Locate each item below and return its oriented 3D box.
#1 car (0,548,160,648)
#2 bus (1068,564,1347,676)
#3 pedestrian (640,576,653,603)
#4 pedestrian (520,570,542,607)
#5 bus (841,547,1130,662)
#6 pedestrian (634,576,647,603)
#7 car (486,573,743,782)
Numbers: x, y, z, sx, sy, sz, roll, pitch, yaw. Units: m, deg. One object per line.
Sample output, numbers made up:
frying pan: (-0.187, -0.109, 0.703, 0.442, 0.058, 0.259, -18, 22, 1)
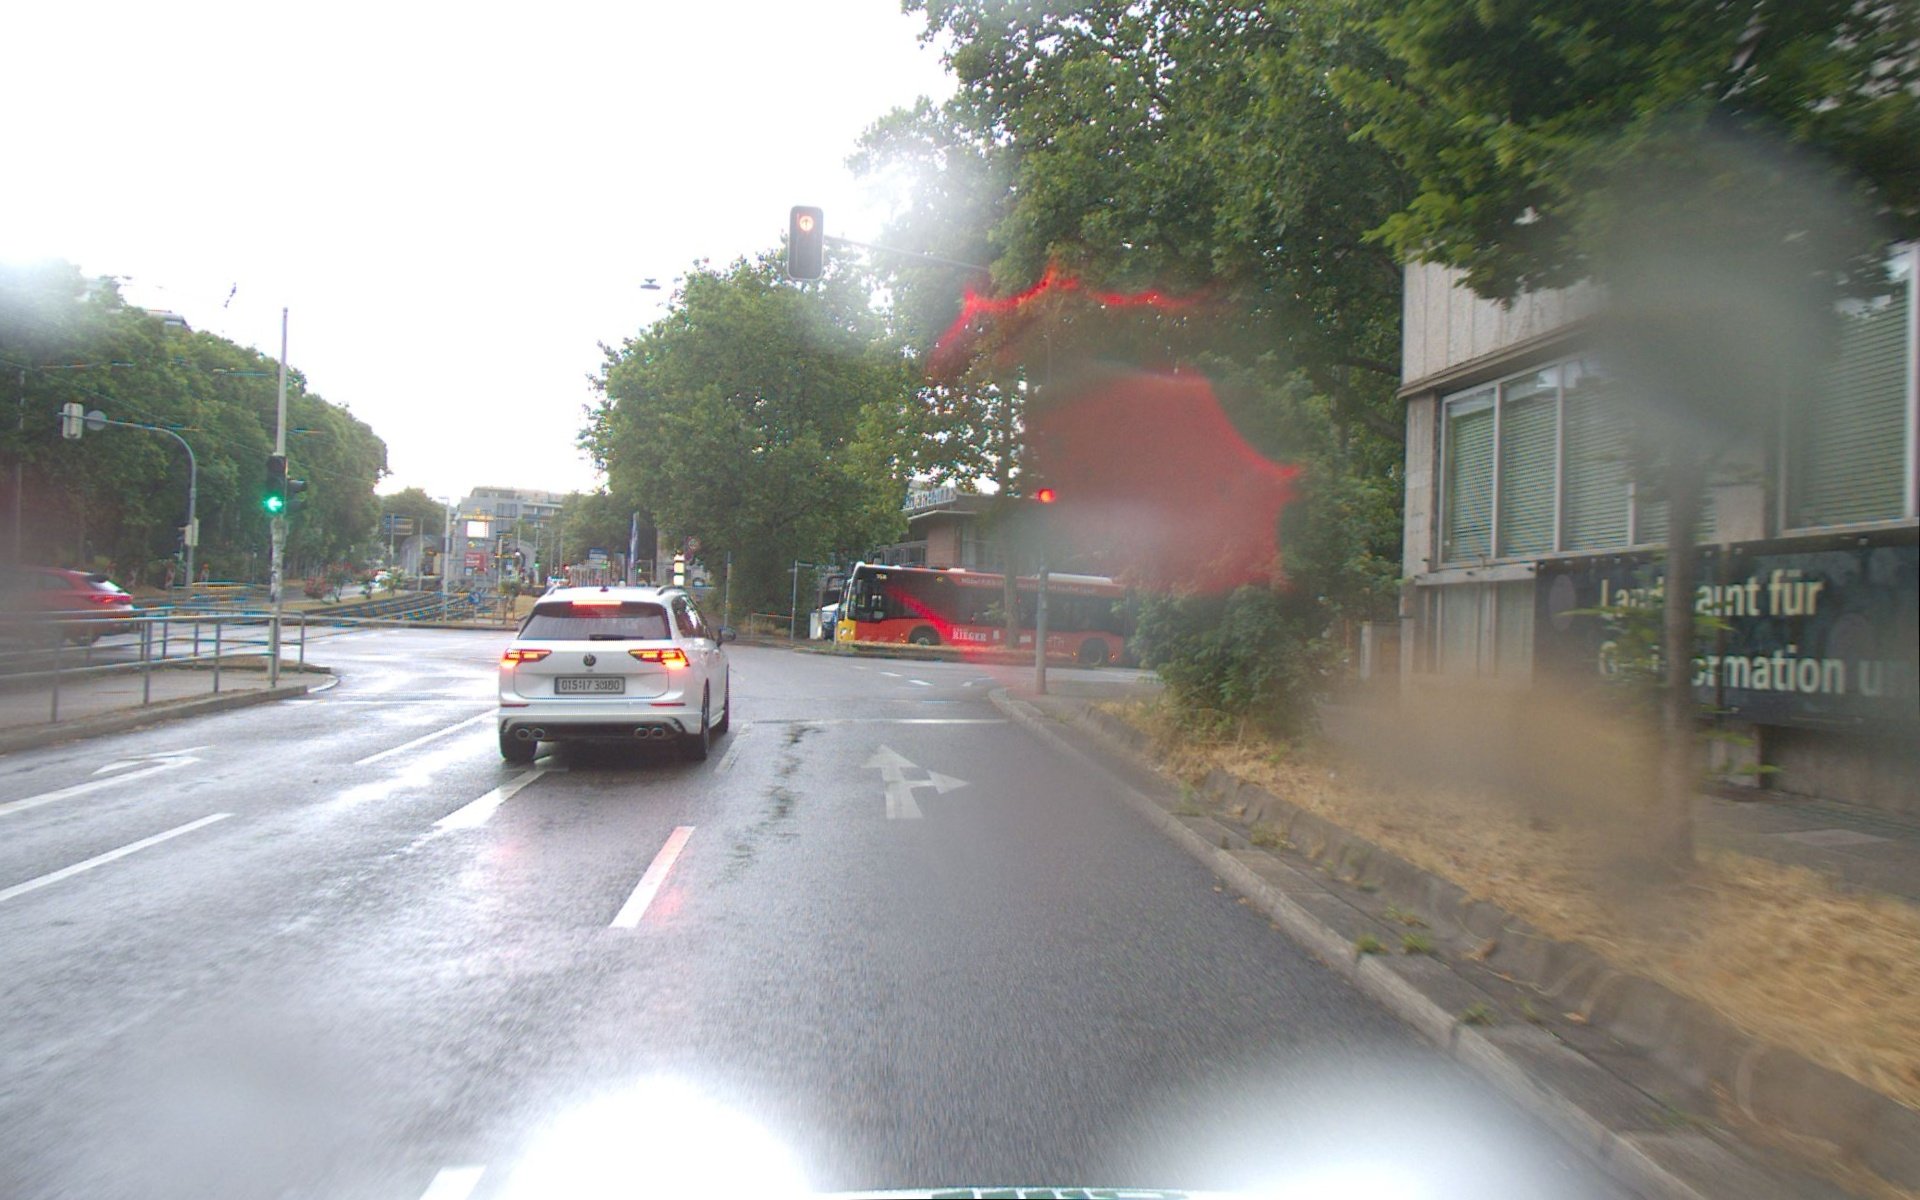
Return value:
car: (-17.544, -0.103, 30.717, 4.318, 1.668, 1.984, 4, -1, -6)
bus: (8.479, 0.702, 56.814, 8.992, 3.165, 2.656, 4, -1, -11)
pedestrian: (-22.139, -0.708, 116.670, 0.744, 1.855, 0.697, 4, -1, -16)
pedestrian: (-19.844, -0.524, 76.538, 0.723, 1.668, 0.870, 3, -1, -1)
bus: (0.817, 0.188, 55.363, 9.253, 3.165, 2.553, 4, -1, -10)
pedestrian: (-22.243, -0.738, 115.122, 0.744, 1.855, 0.697, 4, -1, -16)
car: (-2.986, 0.586, 15.103, 1.646, 1.604, 4.250, 1, 1, -3)
